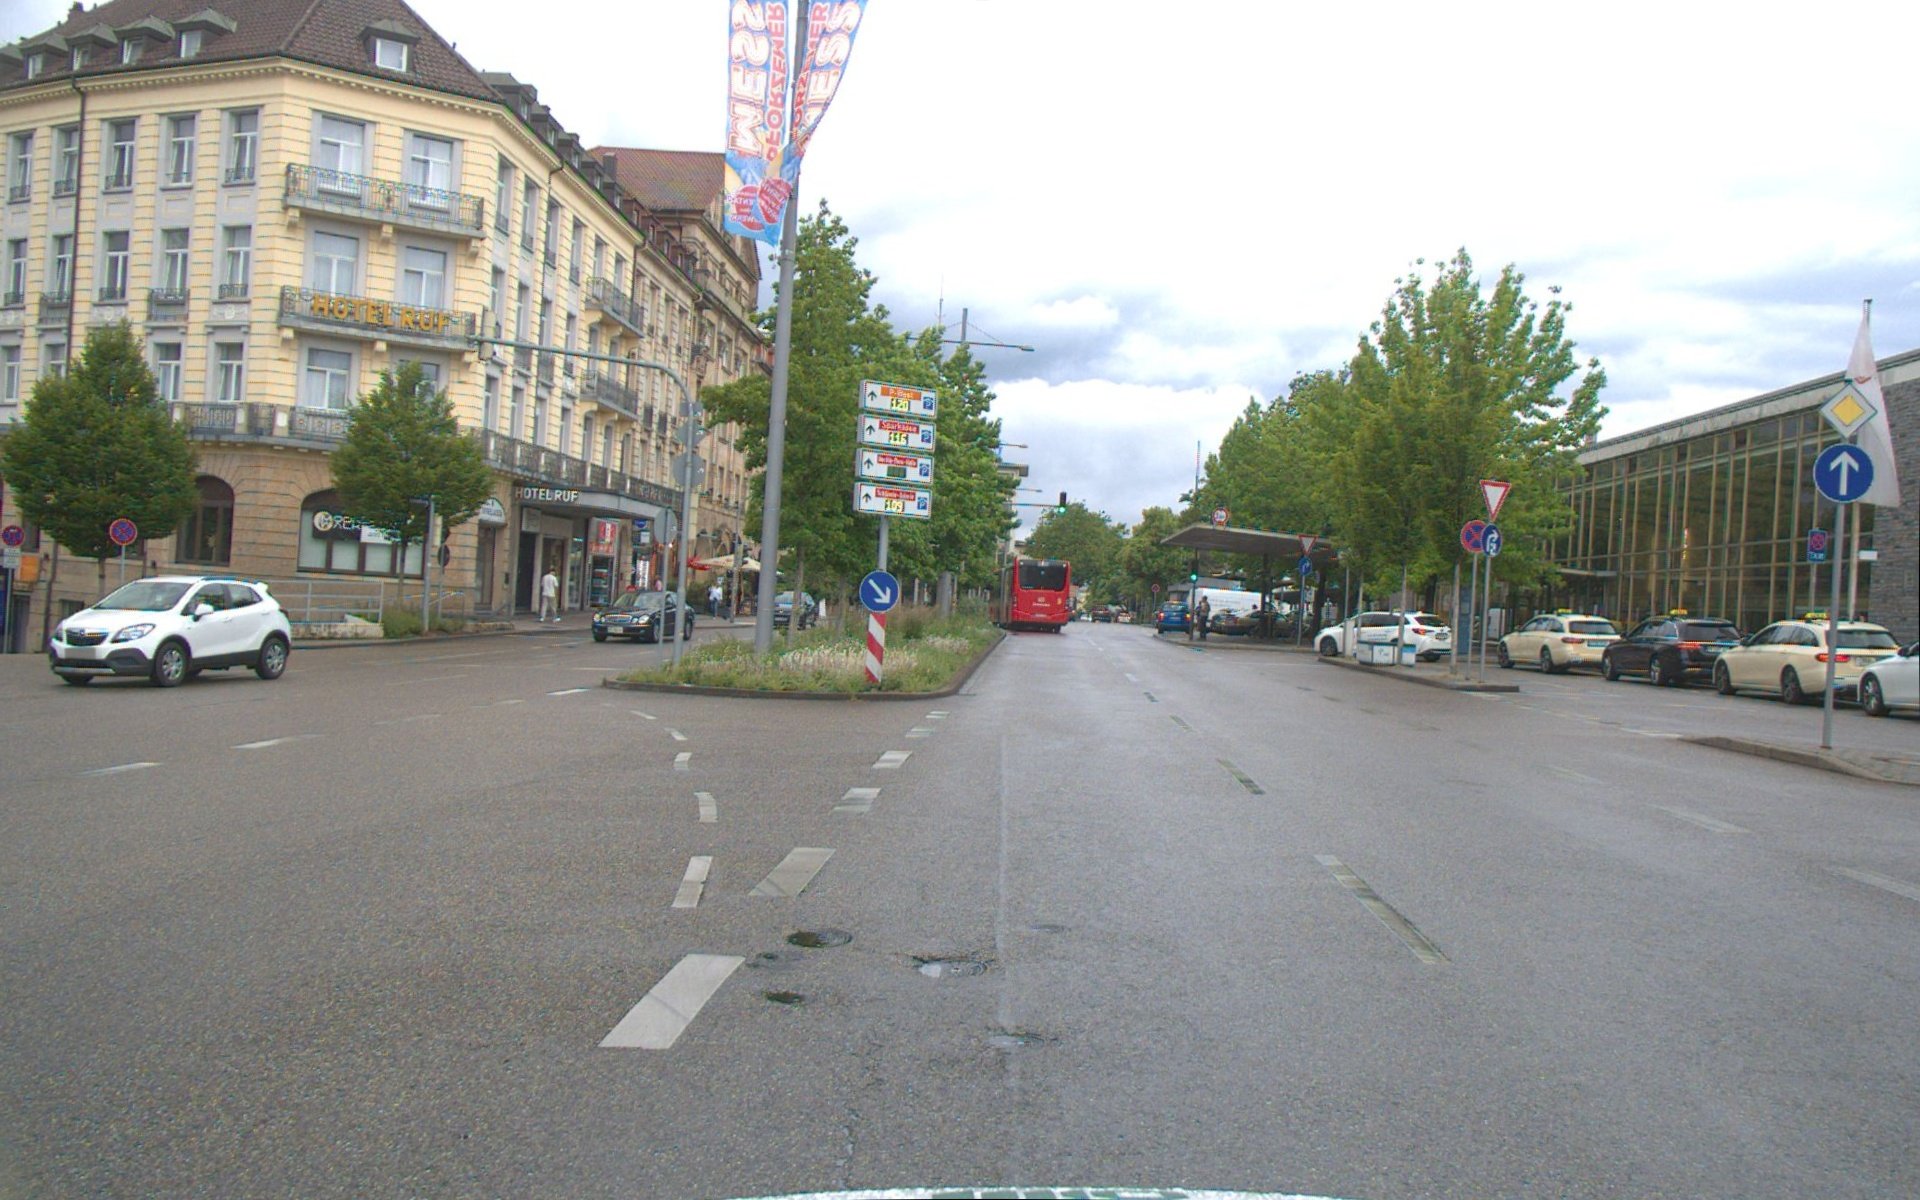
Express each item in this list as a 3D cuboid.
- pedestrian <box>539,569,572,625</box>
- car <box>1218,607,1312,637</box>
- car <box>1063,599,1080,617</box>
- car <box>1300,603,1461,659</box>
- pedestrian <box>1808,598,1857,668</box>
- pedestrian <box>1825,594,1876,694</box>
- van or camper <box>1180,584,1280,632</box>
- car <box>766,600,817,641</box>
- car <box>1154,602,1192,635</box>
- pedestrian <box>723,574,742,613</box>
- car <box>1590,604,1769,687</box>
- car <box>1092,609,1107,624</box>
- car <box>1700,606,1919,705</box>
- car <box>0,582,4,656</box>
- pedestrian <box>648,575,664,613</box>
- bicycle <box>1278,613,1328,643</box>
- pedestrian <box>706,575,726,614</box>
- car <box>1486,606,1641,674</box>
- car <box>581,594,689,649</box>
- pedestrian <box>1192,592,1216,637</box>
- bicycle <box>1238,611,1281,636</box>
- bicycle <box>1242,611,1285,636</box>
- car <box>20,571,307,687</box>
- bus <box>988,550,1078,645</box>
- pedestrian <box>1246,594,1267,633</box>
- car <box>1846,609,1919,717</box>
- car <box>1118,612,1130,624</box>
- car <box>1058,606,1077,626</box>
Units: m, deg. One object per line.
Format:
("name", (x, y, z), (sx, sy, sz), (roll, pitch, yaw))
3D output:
("pedestrian", (-13.484, -0.083, 55.142), (0.861, 1.844, 0.751), (1, -1, 3))
("car", (14.965, 1.084, 81.201), (4.118, 1.348, 1.832), (2, -1, -17))
("car", (12.652, 0.940, 187.804), (1.952, 2.049, 4.002), (1, 0, 3))
("car", (12.705, 0.913, 50.238), (1.744, 1.573, 4.716), (2, -1, -36))
("pedestrian", (20.422, 0.763, 38.712), (0.753, 1.607, 0.710), (1, -1, -1))
("pedestrian", (19.825, 0.968, 36.830), (0.778, 2.202, 0.723), (1, -1, 4))
("van or camper", (16.608, 0.506, 101.621), (5.868, 2.811, 2.182), (1, -1, -24))
("car", (-6.660, 0.797, 65.498), (1.643, 1.539, 3.862), (1, 0, -1))
("car", (10.876, 0.949, 84.555), (1.819, 1.596, 4.003), (2, -1, 7))
("pedestrian", (-9.972, -0.261, 72.434), (0.667, 1.693, 0.807), (1, -1, 3))
("car", (15.930, 0.945, 36.936), (1.952, 1.627, 4.959), (2, 0, 2))
("car", (15.082, 1.741, 178.891), (1.561, 1.588, 3.651), (1, 0, 3))
("car", (15.692, 0.953, 30.705), (1.952, 1.627, 4.960), (1, 0, 3))
("car", (-25.331, 0.410, 41.168), (3.932, 1.790, 1.624), (2, 0, 44))
("pedestrian", (-13.795, -0.261, 75.094), (0.653, 1.693, 0.536), (1, -1, -5))
("bicycle", (12.846, 1.046, 61.988), (1.789, 1.074, 0.420), (1, -1, 3))
("pedestrian", (-10.720, -0.256, 72.566), (0.667, 1.693, 0.807), (1, -1, 6))
("car", (15.740, 0.999, 43.452), (1.954, 1.627, 4.954), (1, 0, -4))
("car", (-9.107, 0.593, 46.683), (1.914, 1.447, 4.002), (1, 0, 5))
("pedestrian", (9.746, 0.578, 66.092), (0.731, 1.777, 0.835), (2, -1, -5))
("bicycle", (12.857, 1.003, 70.959), (1.797, 1.074, 0.419), (1, -1, -15))
("bicycle", (12.941, 1.007, 70.506), (1.797, 1.074, 0.419), (1, -1, -15))
("car", (-12.352, 0.428, 25.987), (1.914, 1.646, 4.212), (1, 0, 11))
("bus", (3.245, -0.064, 76.925), (3.473, 4.049, 11.168), (1, 0, -1))
("pedestrian", (14.407, 0.675, 80.401), (0.838, 1.867, 1.190), (1, -1, 3))
("car", (15.433, 0.962, 24.856), (1.840, 1.627, 4.905), (1, 0, 3))
("car", (23.117, 2.511, 233.324), (1.610, 1.690, 3.651), (1, 0, 3))
("car", (11.226, 1.647, 172.308), (1.952, 2.049, 4.002), (1, 0, 3))
